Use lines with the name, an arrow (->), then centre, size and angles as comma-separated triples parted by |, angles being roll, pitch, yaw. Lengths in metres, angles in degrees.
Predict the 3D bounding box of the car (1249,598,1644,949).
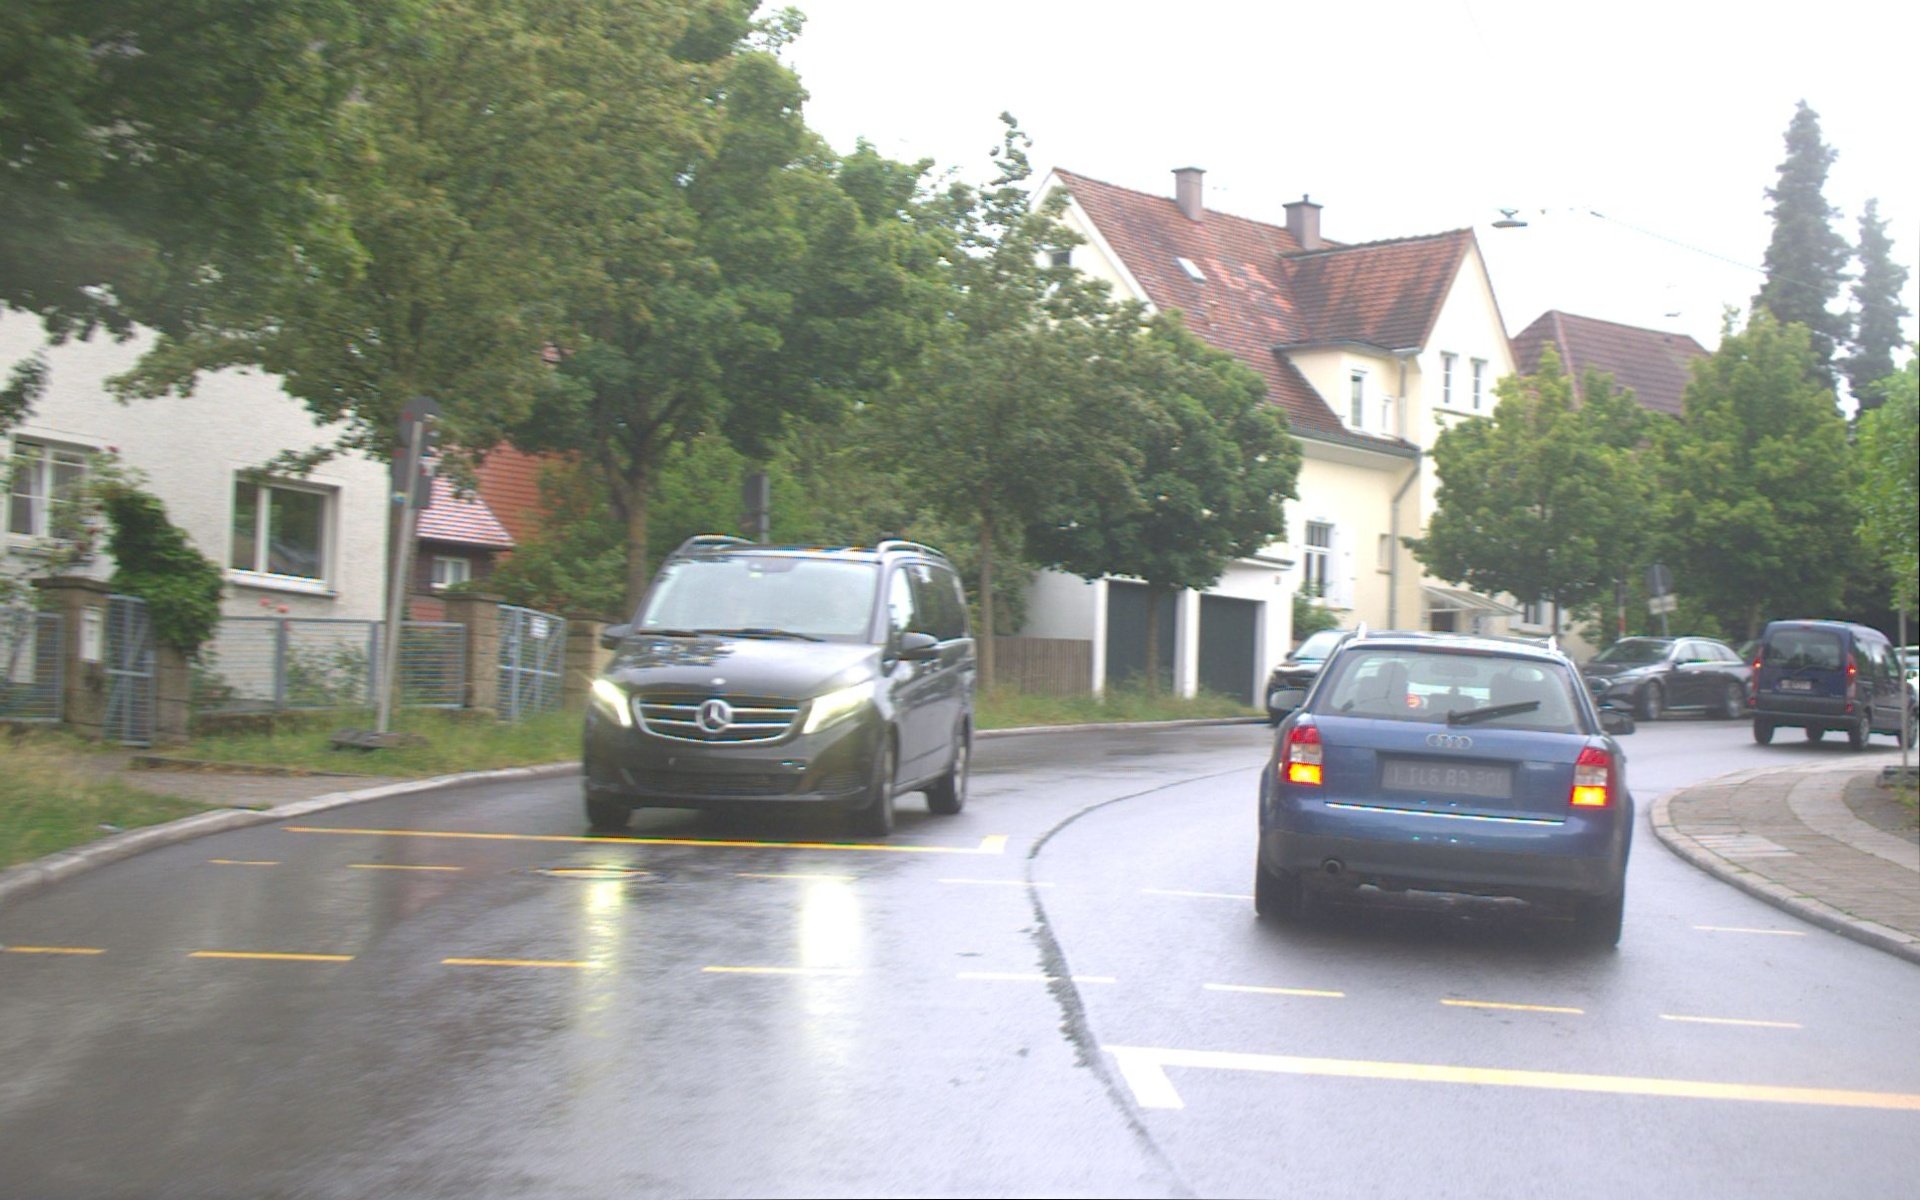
car -> 2.369, 0.771, 17.292 | 1.734, 1.461, 3.999 | 0, 1, 6

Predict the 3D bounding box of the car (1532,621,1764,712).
car -> 12.334, 1.205, 61.418 | 1.871, 1.540, 4.893 | 1, -1, 41

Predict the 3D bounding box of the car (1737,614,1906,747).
car -> 12.840, 1.157, 51.070 | 1.736, 1.763, 4.230 | 0, 1, 24

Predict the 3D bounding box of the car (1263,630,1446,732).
car -> 5.955, 1.207, 51.588 | 1.672, 1.461, 3.890 | 0, -1, 23

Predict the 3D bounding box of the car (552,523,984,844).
car -> -1.127, 0.519, 22.930 | 1.897, 1.883, 5.151 | 0, -1, 8

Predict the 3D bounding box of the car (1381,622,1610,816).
car -> 5.270, 1.097, 33.439 | 1.976, 1.629, 4.233 | 0, 1, 12
